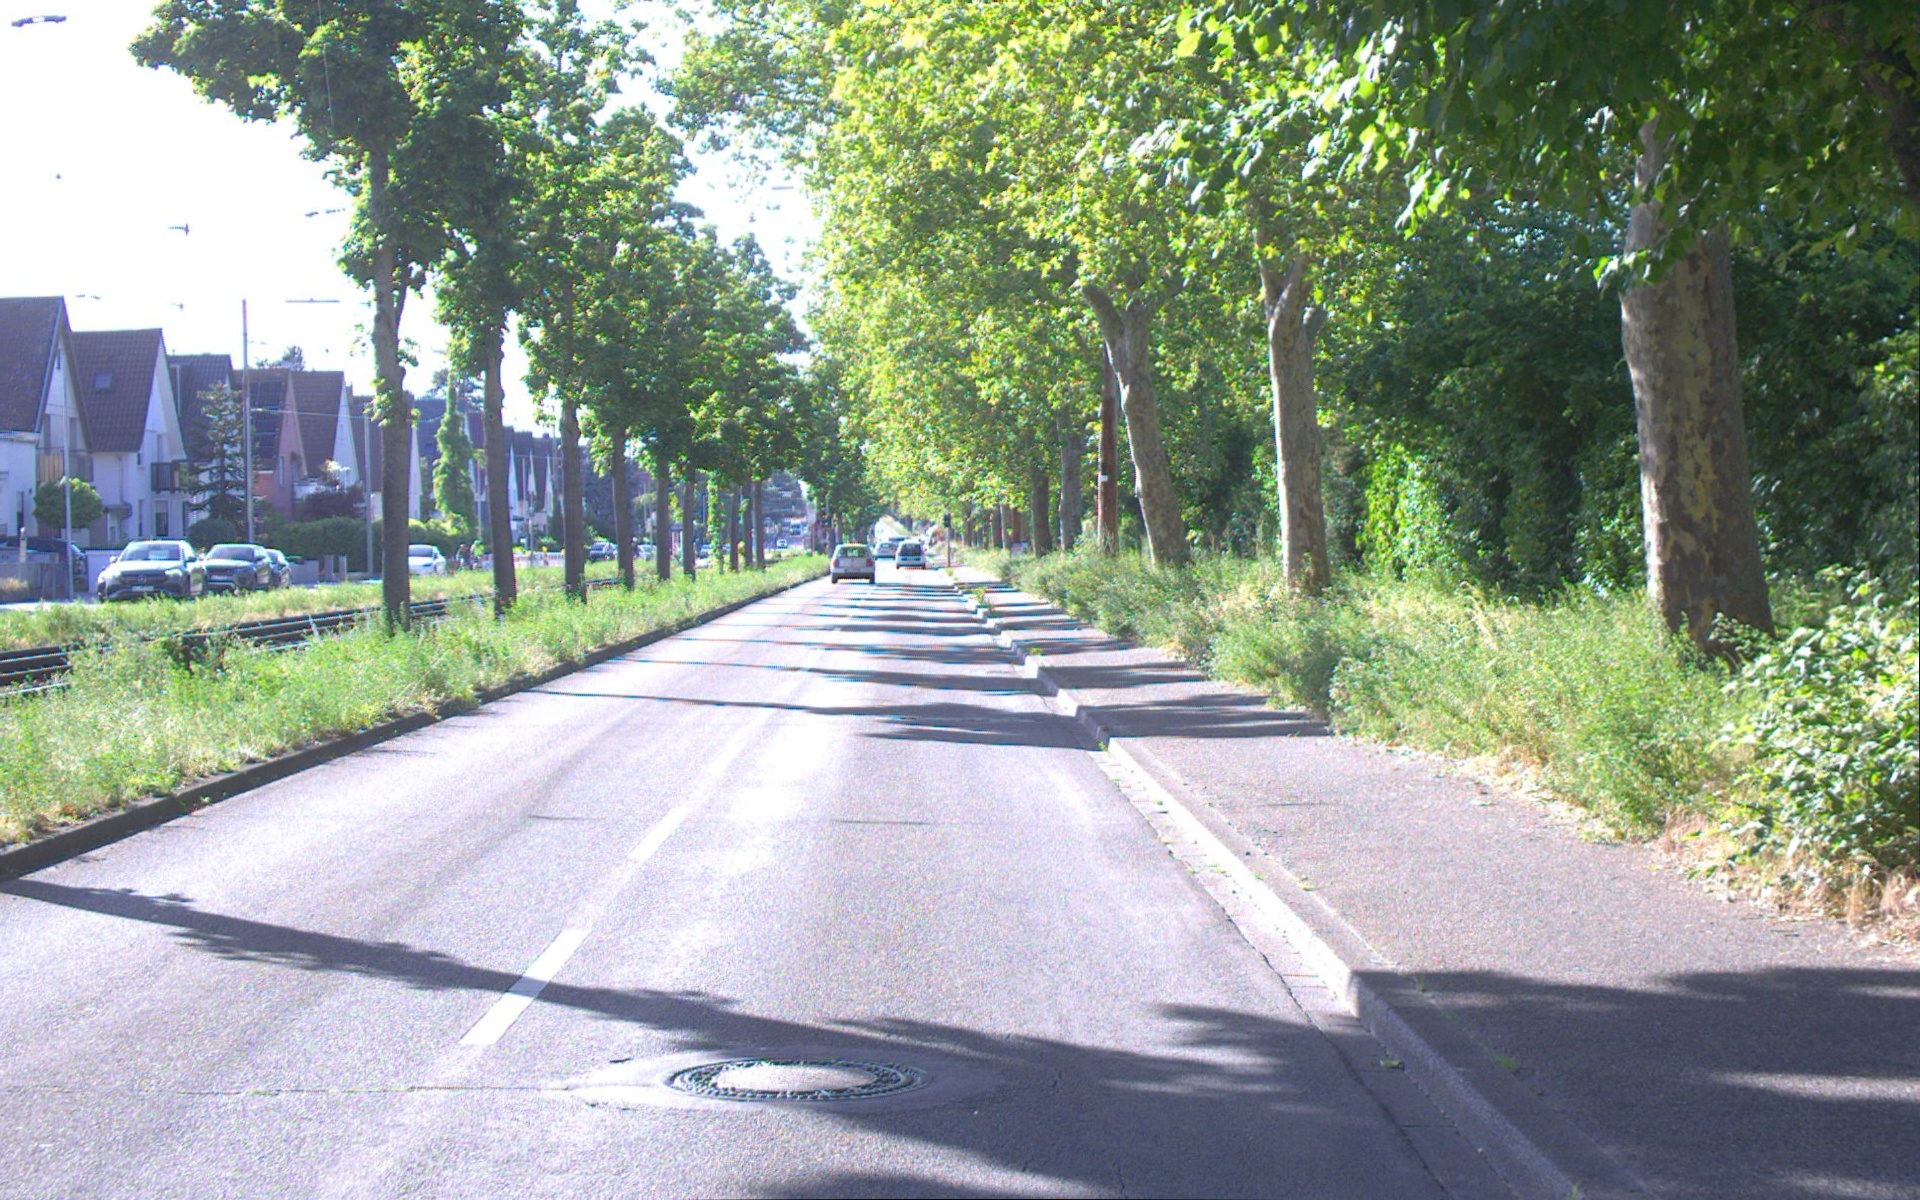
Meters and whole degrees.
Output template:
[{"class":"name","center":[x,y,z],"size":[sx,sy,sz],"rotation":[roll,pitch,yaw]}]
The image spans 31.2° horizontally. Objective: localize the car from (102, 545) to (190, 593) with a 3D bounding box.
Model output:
[{"class":"car","center":[-22.964,-0.894,97.054],"size":[1.494,1.321,4.000],"rotation":[0,1,1]}]

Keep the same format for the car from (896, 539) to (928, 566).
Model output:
[{"class":"car","center":[-2.697,-2.665,192.683],"size":[1.761,1.508,3.277],"rotation":[0,1,0]}]

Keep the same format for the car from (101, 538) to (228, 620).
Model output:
[{"class":"car","center":[-18.627,-0.505,80.667],"size":[1.915,1.876,4.524],"rotation":[0,1,0]}]

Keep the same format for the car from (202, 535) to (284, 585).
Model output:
[{"class":"car","center":[-22.797,-1.279,109.447],"size":[1.644,1.563,4.386],"rotation":[0,1,1]}]

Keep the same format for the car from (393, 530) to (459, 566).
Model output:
[{"class":"car","center":[-23.749,-2.309,153.006],"size":[1.994,1.593,4.731],"rotation":[0,1,3]}]

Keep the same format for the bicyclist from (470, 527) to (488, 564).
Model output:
[{"class":"bicyclist","center":[-21.449,-2.427,153.297],"size":[0.688,1.646,0.881],"rotation":[0,1,-1]}]

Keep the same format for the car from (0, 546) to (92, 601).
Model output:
[{"class":"car","center":[-28.693,-0.824,104.859],"size":[3.986,1.664,2.000],"rotation":[0,1,-4]}]

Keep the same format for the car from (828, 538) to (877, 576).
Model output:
[{"class":"car","center":[-3.958,-1.597,126.982],"size":[1.738,1.396,3.277],"rotation":[0,1,-1]}]

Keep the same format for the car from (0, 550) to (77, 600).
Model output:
[{"class":"car","center":[-28.098,-0.732,100.401],"size":[4.212,1.458,1.938],"rotation":[0,1,-4]}]
